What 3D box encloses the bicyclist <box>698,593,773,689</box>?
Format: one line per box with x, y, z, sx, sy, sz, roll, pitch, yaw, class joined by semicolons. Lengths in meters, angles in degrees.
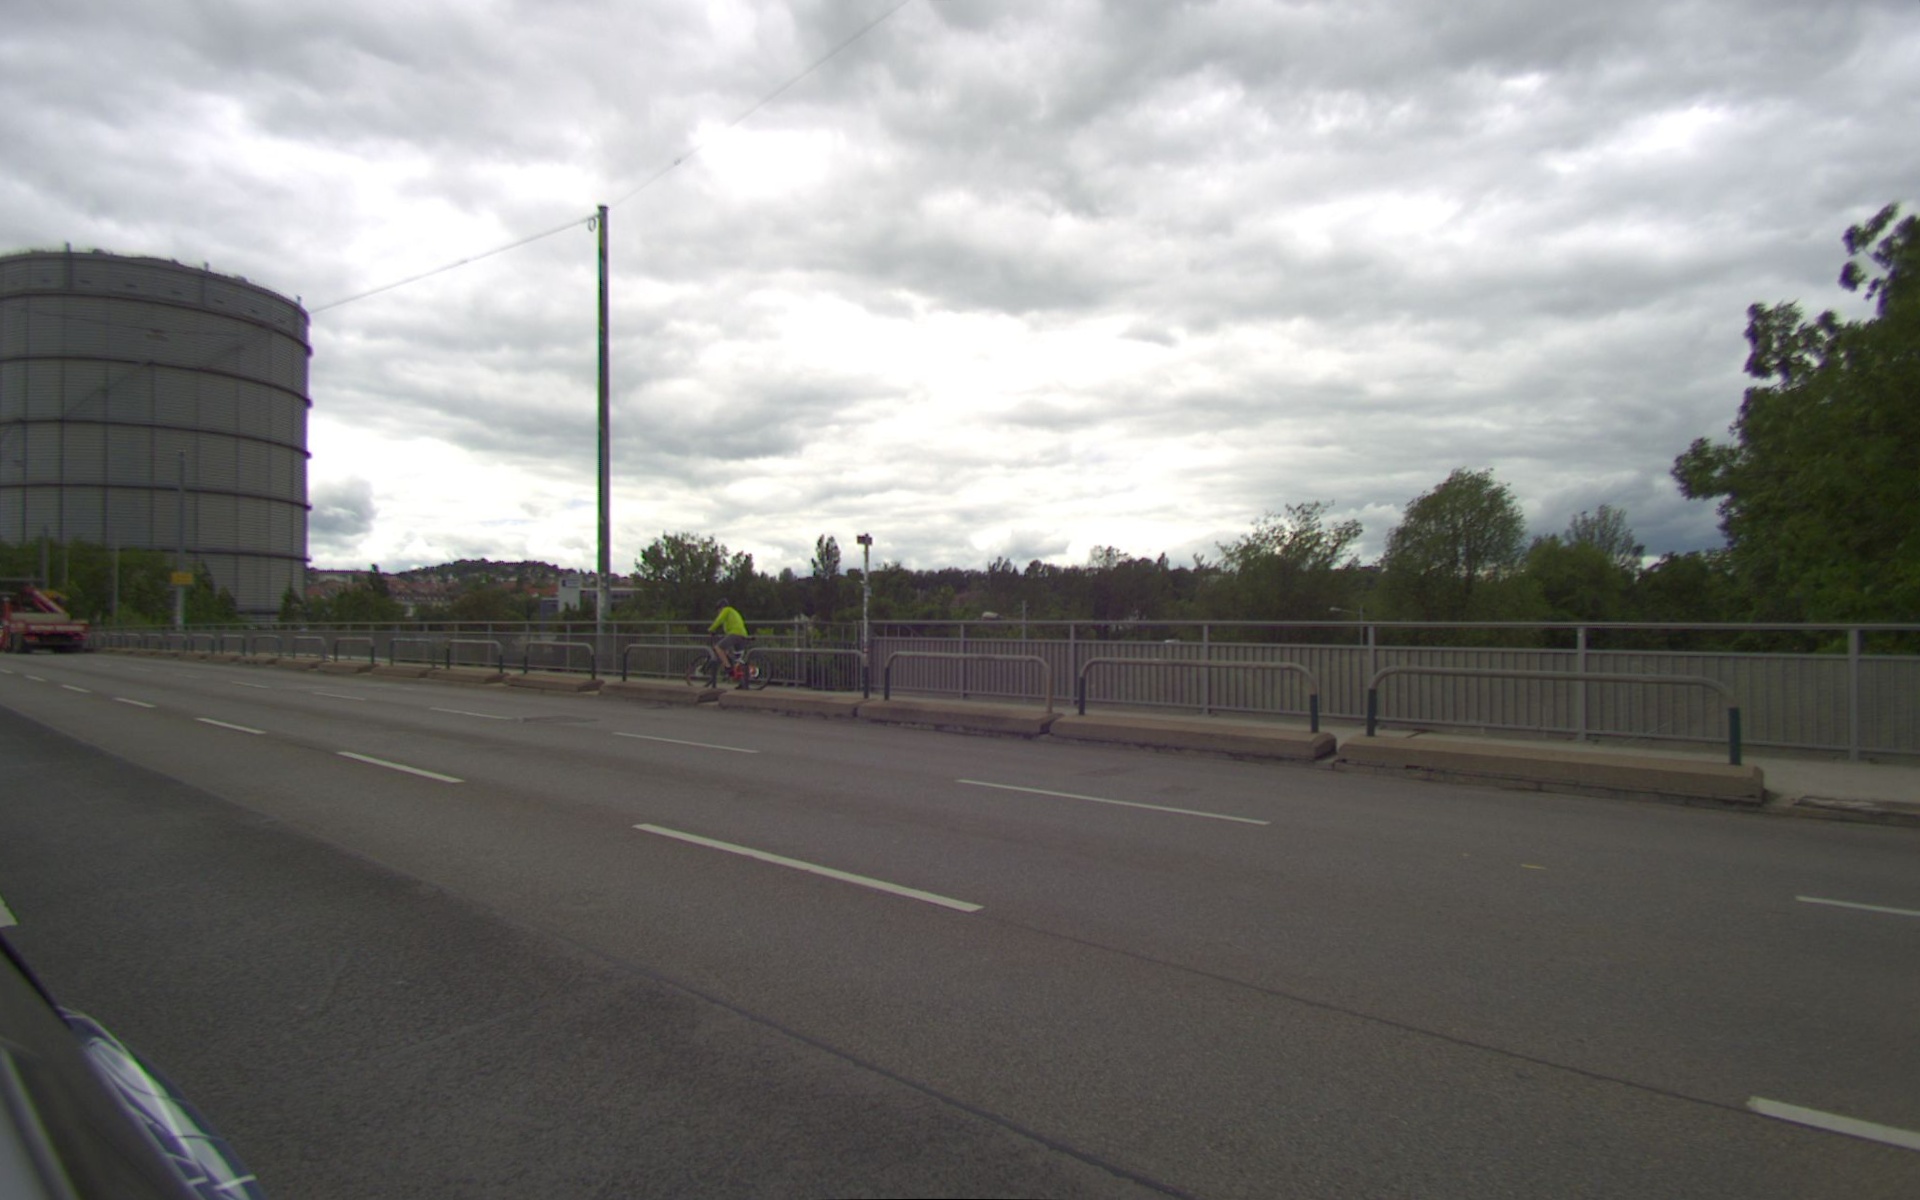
-4.314;0.777;19.463;1.135;1.778;0.893;-2;-2;39;bicyclist

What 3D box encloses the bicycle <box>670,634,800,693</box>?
-4.375;1.186;19.505;2.797;1.059;0.908;-2;-2;39;bicycle

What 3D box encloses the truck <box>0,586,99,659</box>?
-49.250;1.332;54.357;9.975;3.593;2.974;-3;-4;41;truck

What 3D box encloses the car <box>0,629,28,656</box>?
-58.488;2.582;61.782;4.013;1.615;1.860;-3;-4;41;car

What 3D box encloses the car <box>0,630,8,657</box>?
-65.759;2.940;68.132;4.799;1.775;1.860;-3;-4;41;car
